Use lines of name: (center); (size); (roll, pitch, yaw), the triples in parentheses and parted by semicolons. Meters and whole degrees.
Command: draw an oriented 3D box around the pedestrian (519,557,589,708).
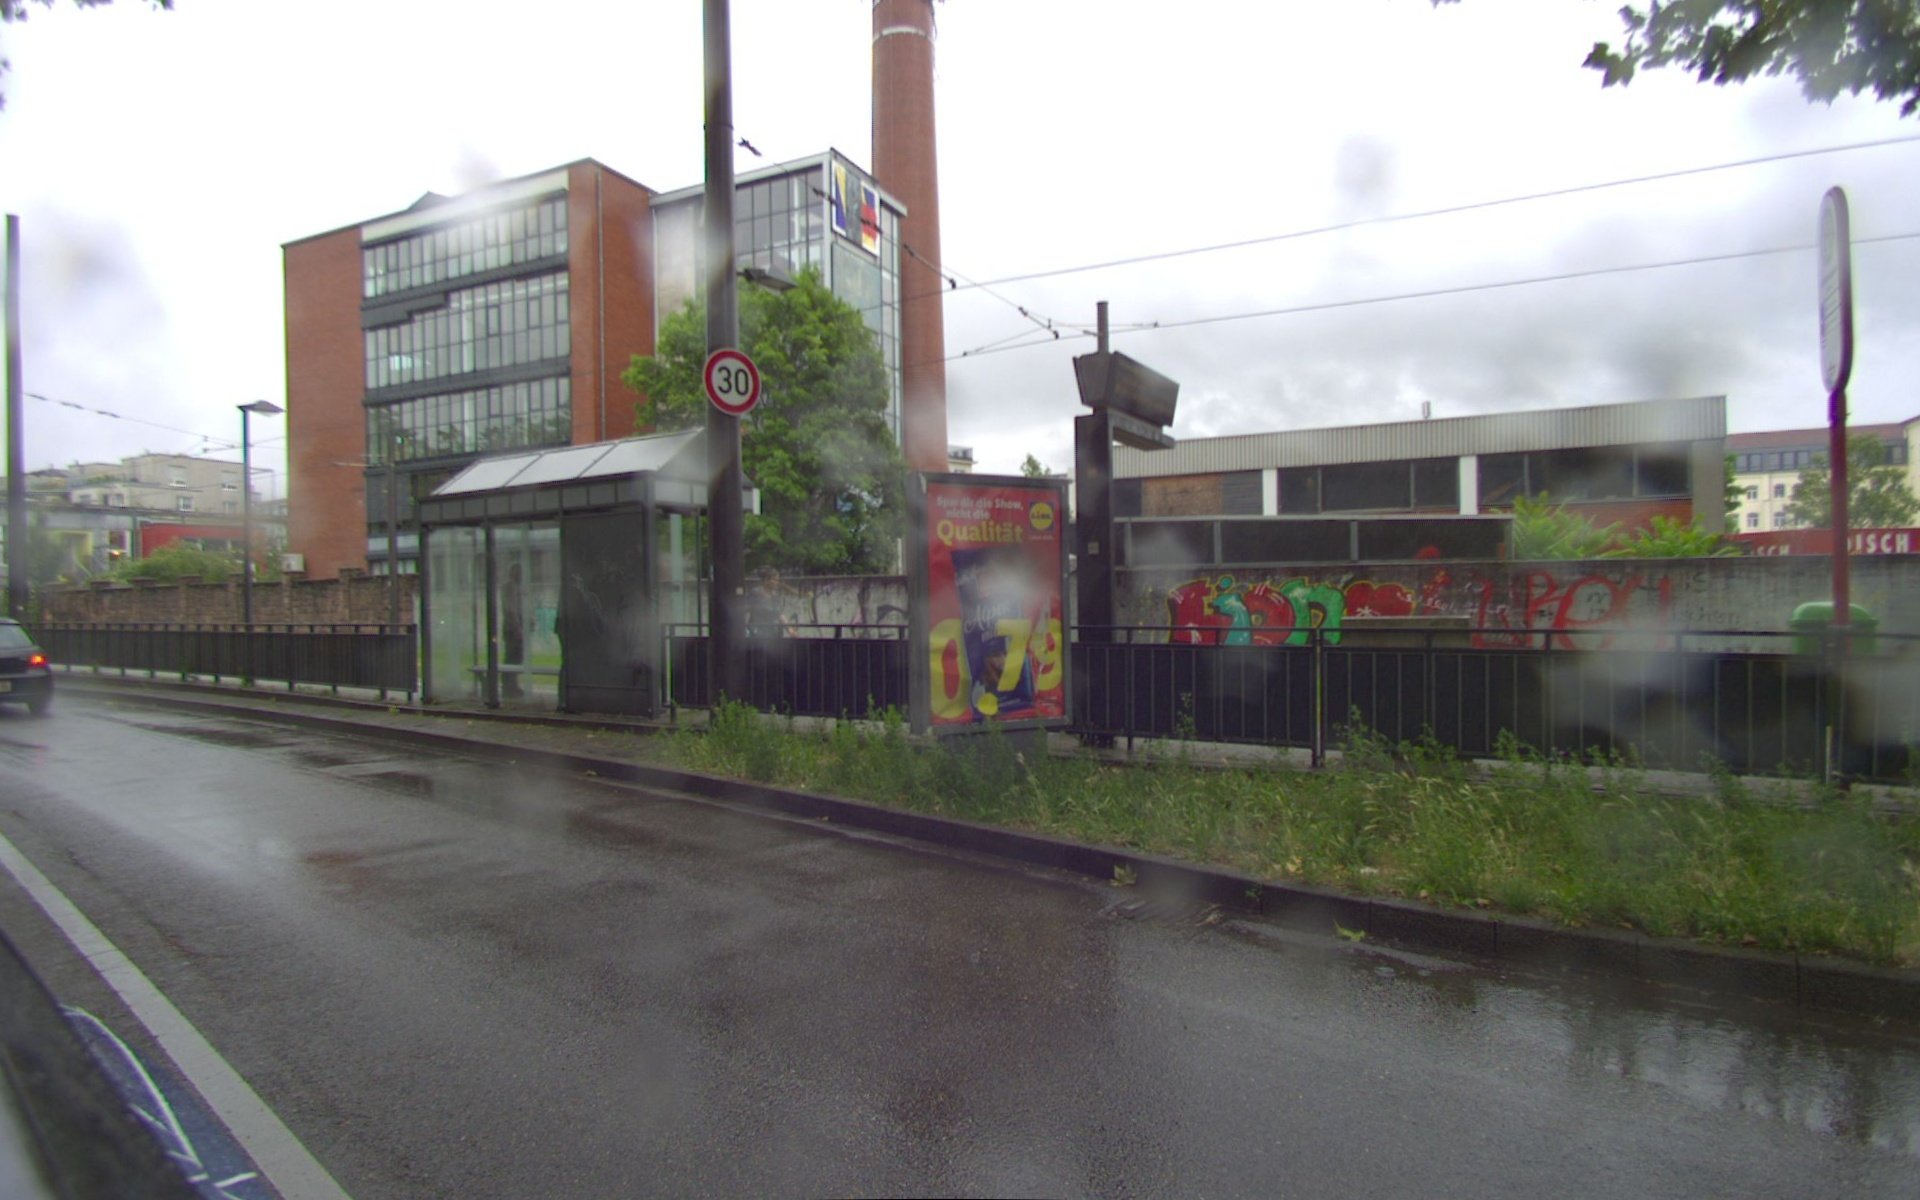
pedestrian: (-4.921, 0.379, 12.271); (0.620, 1.762, 0.565); (-1, 0, -41)

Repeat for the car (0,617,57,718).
car: (-15.753, 1.022, 15.750); (3.738, 1.470, 1.700); (-1, 0, 34)

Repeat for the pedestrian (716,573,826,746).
pedestrian: (-2.093, 0.634, 11.227); (0.841, 1.818, 0.819); (-1, 0, 30)

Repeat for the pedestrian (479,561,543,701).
pedestrian: (-5.847, 0.391, 13.173); (0.620, 1.762, 0.515); (-1, 0, -41)
